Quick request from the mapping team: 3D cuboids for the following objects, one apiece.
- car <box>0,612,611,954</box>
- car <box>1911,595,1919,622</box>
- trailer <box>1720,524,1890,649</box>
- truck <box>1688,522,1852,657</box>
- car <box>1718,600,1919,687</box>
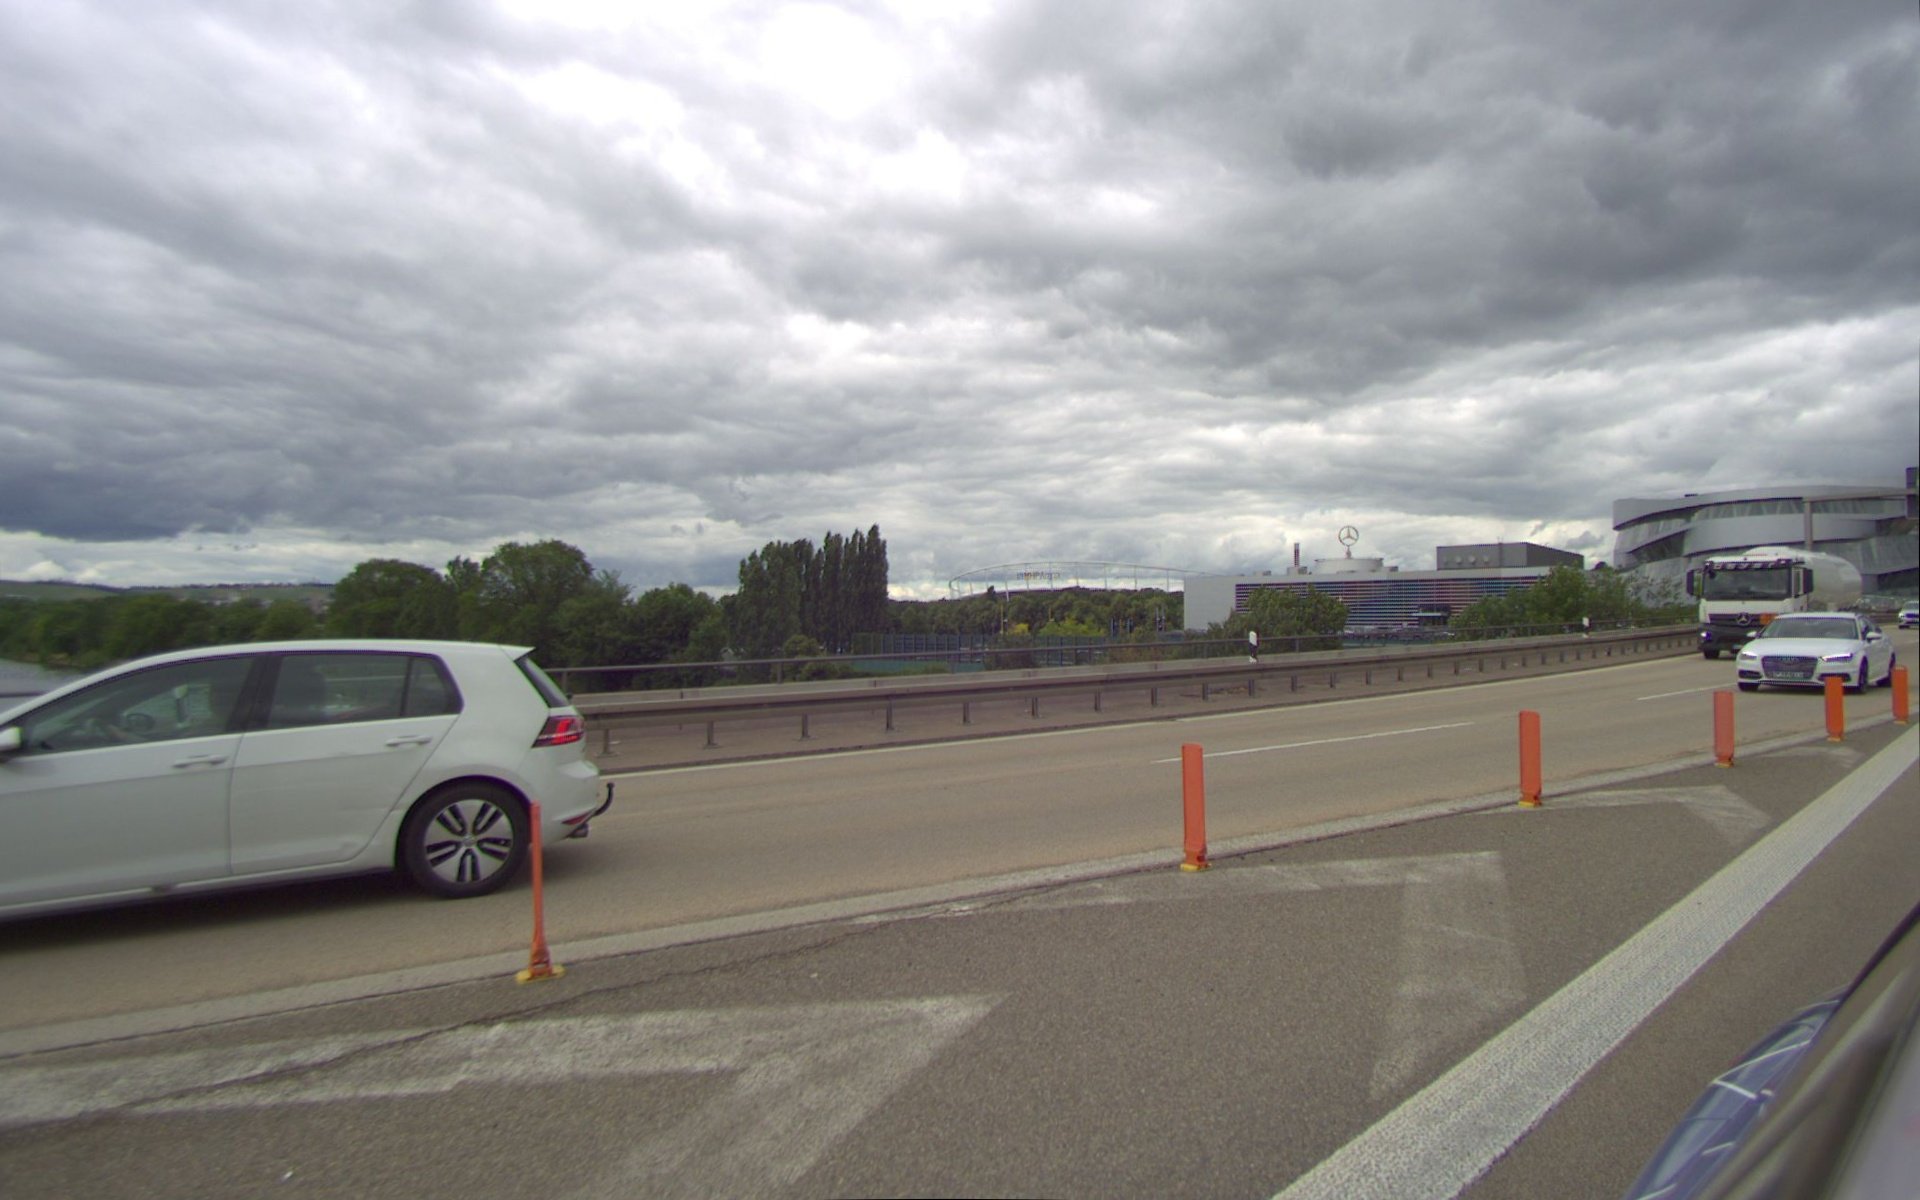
[{"bbox_3d":[-4.146,0.886,5.666,3.919,1.499,1.739,-1,-3,-28],"label":"car"},{"bbox_3d":[56.246,0.478,58.191,3.735,1.534,1.927,-1,0,-41],"label":"car"},{"bbox_3d":[28.979,-0.450,34.461,10.813,3.695,2.745,-1,0,-41],"label":"trailer"},{"bbox_3d":[24.702,-0.321,30.771,6.091,3.692,2.733,-1,0,-40],"label":"truck"},{"bbox_3d":[15.976,0.775,18.588,3.856,1.428,1.791,-1,-4,-29],"label":"car"}]
